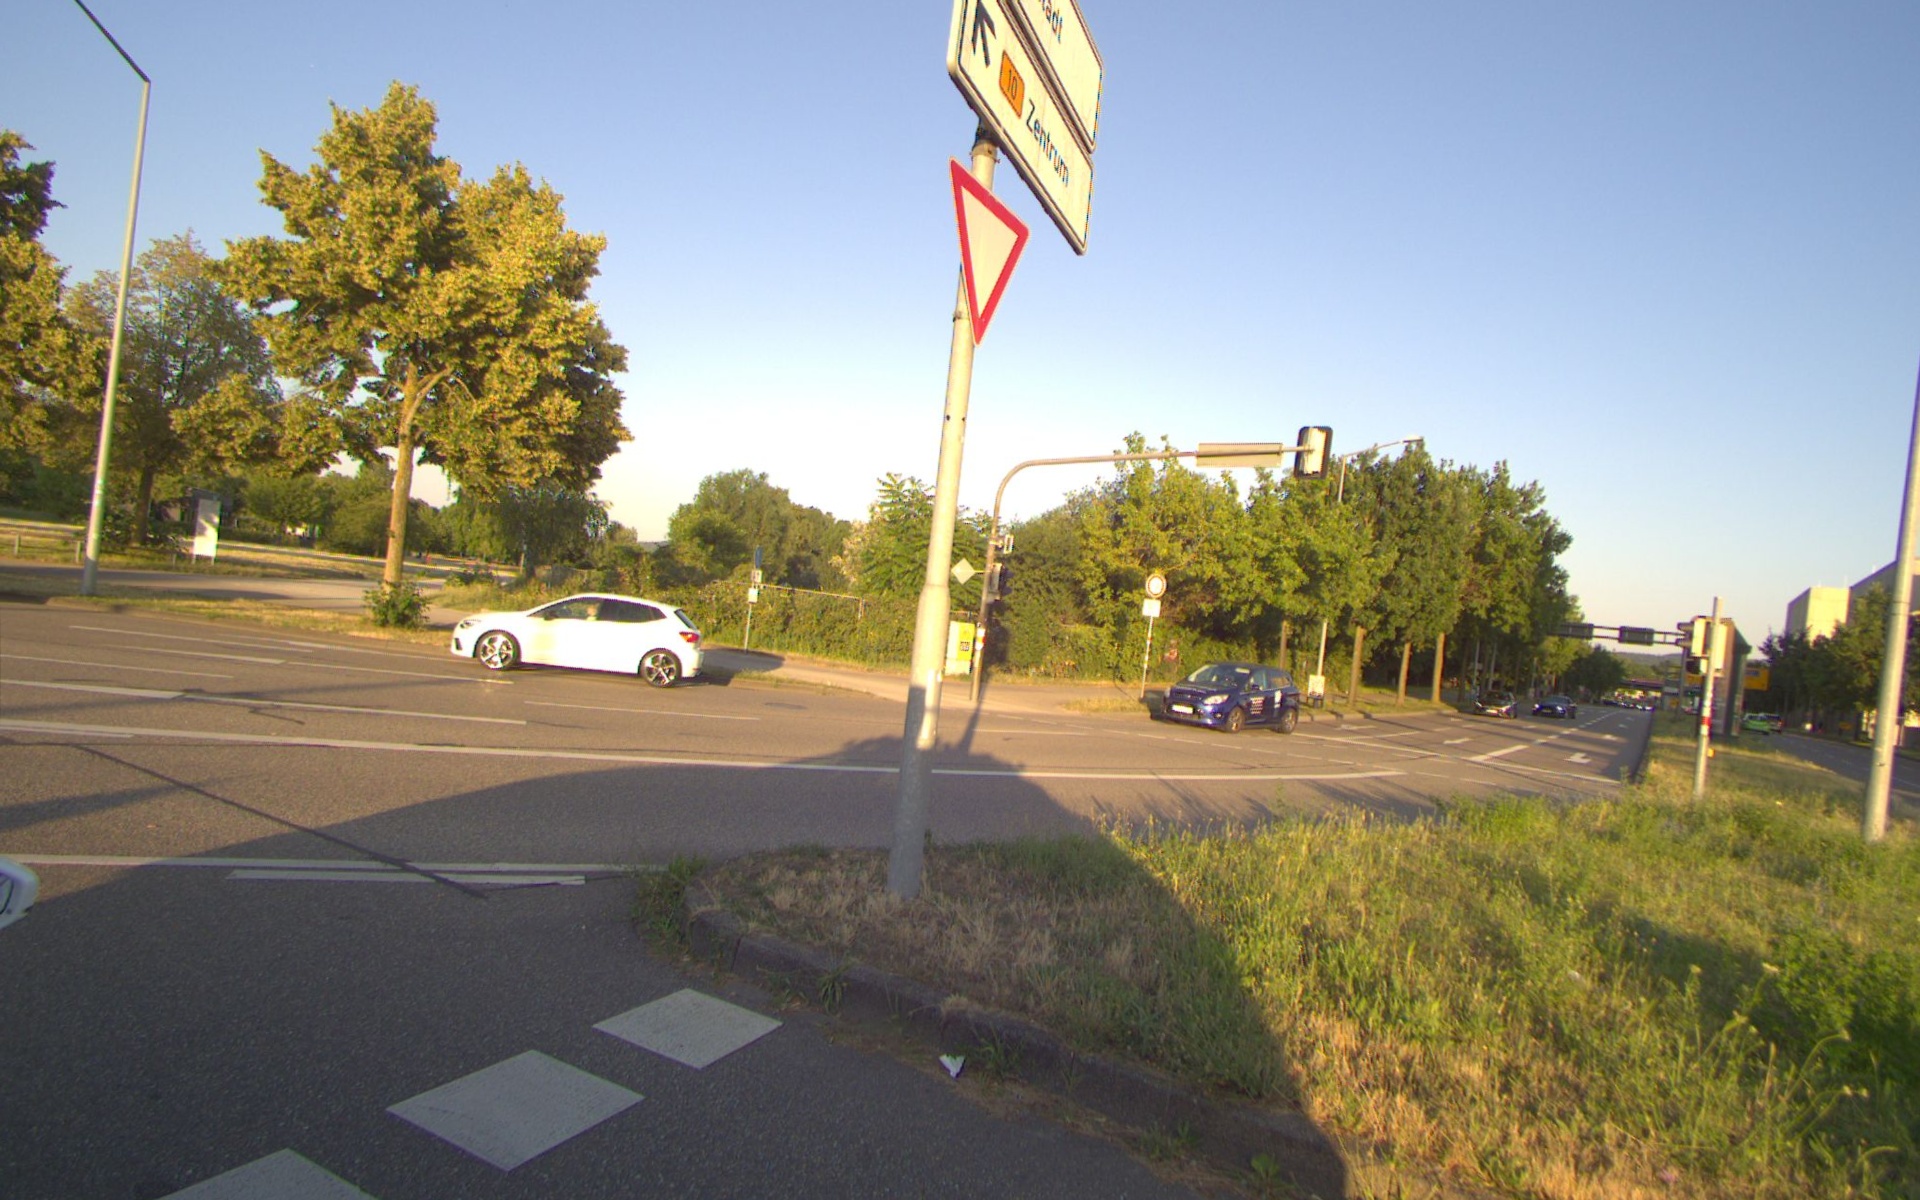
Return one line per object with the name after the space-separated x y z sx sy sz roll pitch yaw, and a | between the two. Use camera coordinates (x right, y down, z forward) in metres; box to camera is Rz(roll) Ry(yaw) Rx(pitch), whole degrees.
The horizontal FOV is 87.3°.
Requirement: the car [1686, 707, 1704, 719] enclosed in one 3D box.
118.804 18.311 162.566 1.968 1.648 3.991 7 -1 33 | car

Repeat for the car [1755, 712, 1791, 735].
71.493 10.838 88.545 1.705 1.596 4.322 7 -1 31 | car

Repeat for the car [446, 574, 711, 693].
-6.331 0.553 17.190 3.909 1.471 1.862 7 0 -15 | car

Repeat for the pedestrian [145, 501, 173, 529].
-51.963 -5.509 65.236 0.896 1.637 1.070 7 0 34 | pedestrian

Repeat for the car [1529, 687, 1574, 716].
37.560 6.432 63.825 1.969 1.523 4.758 7 -1 35 | car

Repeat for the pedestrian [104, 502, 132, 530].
-53.417 -5.327 63.818 0.896 1.637 1.070 7 0 34 | pedestrian

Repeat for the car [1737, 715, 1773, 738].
61.223 9.708 77.523 1.662 1.437 3.991 7 -1 33 | car

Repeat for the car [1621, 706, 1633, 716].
144.549 24.097 218.081 1.967 1.801 3.994 6 -2 32 | car

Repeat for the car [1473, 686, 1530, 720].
29.764 5.684 55.224 1.970 1.523 4.605 7 -1 37 | car

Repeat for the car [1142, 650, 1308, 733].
6.286 2.178 23.597 1.891 1.602 4.158 5 -2 44 | car
